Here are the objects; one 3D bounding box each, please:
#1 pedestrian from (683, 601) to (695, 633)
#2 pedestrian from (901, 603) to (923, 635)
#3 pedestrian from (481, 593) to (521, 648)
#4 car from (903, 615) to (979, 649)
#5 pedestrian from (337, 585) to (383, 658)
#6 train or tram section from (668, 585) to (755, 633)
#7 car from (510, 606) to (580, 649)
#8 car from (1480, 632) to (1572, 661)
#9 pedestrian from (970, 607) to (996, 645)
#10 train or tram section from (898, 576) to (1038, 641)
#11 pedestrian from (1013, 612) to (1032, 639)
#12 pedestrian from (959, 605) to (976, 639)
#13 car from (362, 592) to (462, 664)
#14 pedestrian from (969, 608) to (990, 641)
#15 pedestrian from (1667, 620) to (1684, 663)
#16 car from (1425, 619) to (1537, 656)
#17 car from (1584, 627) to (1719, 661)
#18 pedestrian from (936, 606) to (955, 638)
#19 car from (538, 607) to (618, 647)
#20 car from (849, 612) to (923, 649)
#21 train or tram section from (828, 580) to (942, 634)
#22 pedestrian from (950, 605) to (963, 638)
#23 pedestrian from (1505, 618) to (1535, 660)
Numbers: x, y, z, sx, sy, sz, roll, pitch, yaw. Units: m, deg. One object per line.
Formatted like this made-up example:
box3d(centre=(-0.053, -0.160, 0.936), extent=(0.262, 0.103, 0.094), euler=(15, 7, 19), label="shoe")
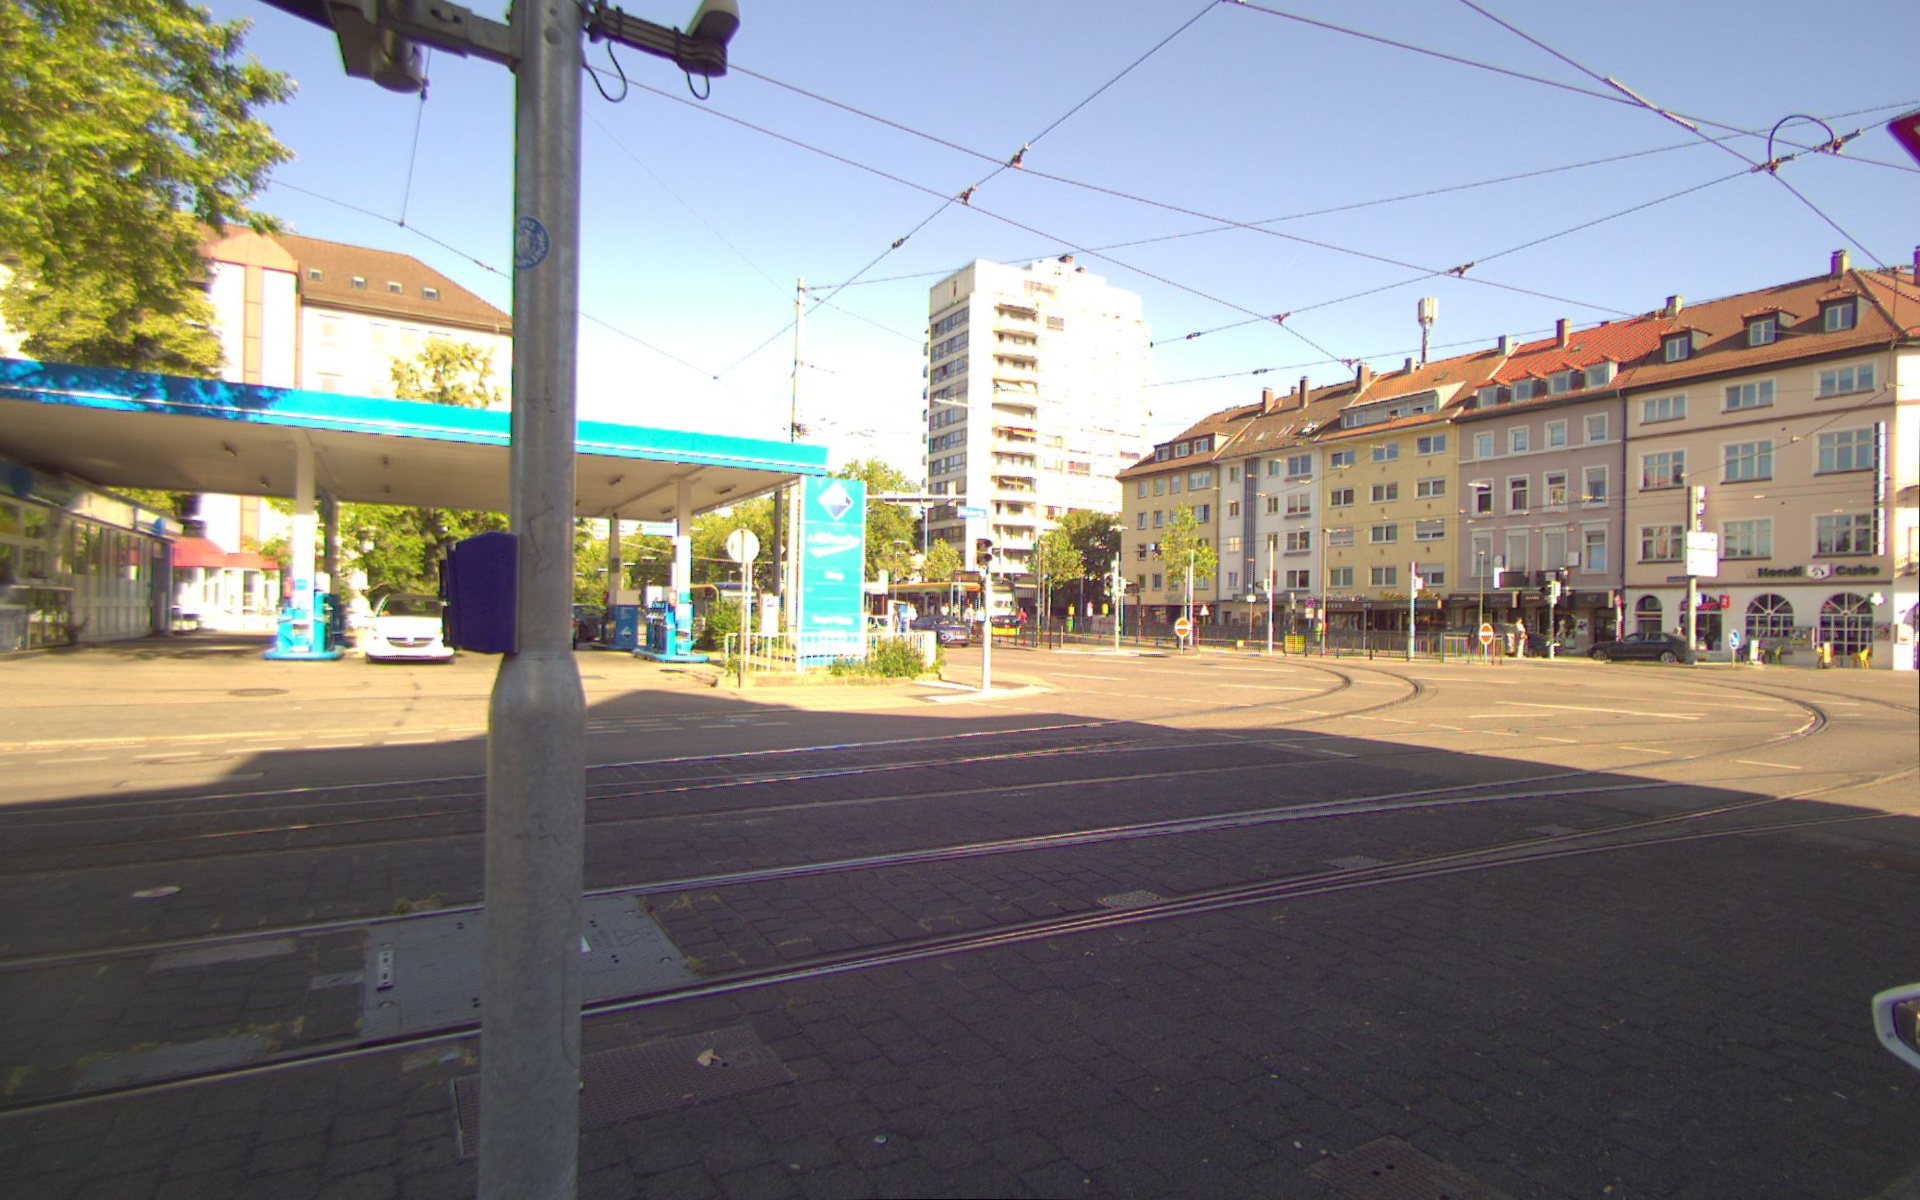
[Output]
box3d(centre=(-15.392, 0.944, 57.080), extent=(0.539, 1.809, 0.492), euler=(1, -1, -26), label="pedestrian")
box3d(centre=(-2.774, 1.108, 57.723), extent=(0.902, 1.826, 0.887), euler=(1, -1, -33), label="pedestrian")
box3d(centre=(-15.519, 0.702, 33.968), extent=(0.896, 1.826, 0.893), euler=(0, -1, 34), label="pedestrian")
box3d(centre=(-0.953, 1.494, 48.357), extent=(1.937, 1.475, 4.077), euler=(1, 0, -30), label="car")
box3d(centre=(-13.893, 0.507, 23.273), extent=(0.801, 1.652, 0.643), euler=(1, -1, -24), label="pedestrian")
box3d(centre=(-15.025, 0.454, 60.049), extent=(2.233, 2.627, 10.398), euler=(2, 0, -30), label="train or tram section")
box3d(centre=(-13.497, 0.866, 32.587), extent=(1.752, 1.332, 3.520), euler=(1, -1, -28), label="car")
box3d(centre=(30.781, 2.497, 54.722), extent=(1.980, 1.483, 3.962), euler=(1, -1, -34), label="car")
box3d(centre=(1.099, 1.251, 48.441), extent=(0.902, 1.826, 0.887), euler=(1, -1, -33), label="pedestrian")
box3d(centre=(0.236, 0.519, 58.972), extent=(3.252, 3.459, 10.157), euler=(1, -1, -33), label="train or tram section")
box3d(centre=(4.701, 1.911, 75.559), extent=(0.942, 2.040, 1.214), euler=(1, -1, -25), label="pedestrian")
box3d(centre=(0.400, 1.144, 52.116), extent=(0.549, 1.721, 0.740), euler=(1, -1, -33), label="pedestrian")
box3d(centre=(-12.268, 0.608, 22.443), extent=(1.773, 1.461, 3.968), euler=(2, -1, -30), label="car")
box3d(centre=(0.969, 1.221, 50.830), extent=(0.791, 1.646, 0.706), euler=(1, -1, -33), label="pedestrian")
box3d(centre=(34.216, 1.984, 48.028), extent=(0.498, 2.040, 0.507), euler=(1, -1, -27), label="pedestrian")
box3d(centre=(25.081, 1.777, 48.527), extent=(1.976, 1.694, 4.489), euler=(1, -1, -30), label="car")
box3d(centre=(30.258, 1.899, 44.097), extent=(1.977, 1.358, 4.487), euler=(1, -1, -31), label="car")
box3d(centre=(-0.768, 1.183, 53.924), extent=(0.773, 1.721, 0.692), euler=(1, -1, -33), label="pedestrian")
box3d(centre=(-17.198, 1.214, 45.392), extent=(1.960, 1.685, 4.001), euler=(1, -1, 2), label="car")
box3d(centre=(-3.501, 1.396, 46.815), extent=(1.976, 1.615, 3.970), euler=(1, -1, -29), label="car")
box3d(centre=(-5.244, 0.523, 67.591), extent=(3.252, 3.335, 10.157), euler=(1, -1, -33), label="train or tram section")
box3d(centre=(-0.180, 1.125, 53.053), extent=(0.491, 1.721, 0.553), euler=(1, -1, -33), label="pedestrian")
box3d(centre=(24.501, 1.696, 43.963), extent=(0.801, 1.842, 0.871), euler=(1, -1, -29), label="pedestrian")
